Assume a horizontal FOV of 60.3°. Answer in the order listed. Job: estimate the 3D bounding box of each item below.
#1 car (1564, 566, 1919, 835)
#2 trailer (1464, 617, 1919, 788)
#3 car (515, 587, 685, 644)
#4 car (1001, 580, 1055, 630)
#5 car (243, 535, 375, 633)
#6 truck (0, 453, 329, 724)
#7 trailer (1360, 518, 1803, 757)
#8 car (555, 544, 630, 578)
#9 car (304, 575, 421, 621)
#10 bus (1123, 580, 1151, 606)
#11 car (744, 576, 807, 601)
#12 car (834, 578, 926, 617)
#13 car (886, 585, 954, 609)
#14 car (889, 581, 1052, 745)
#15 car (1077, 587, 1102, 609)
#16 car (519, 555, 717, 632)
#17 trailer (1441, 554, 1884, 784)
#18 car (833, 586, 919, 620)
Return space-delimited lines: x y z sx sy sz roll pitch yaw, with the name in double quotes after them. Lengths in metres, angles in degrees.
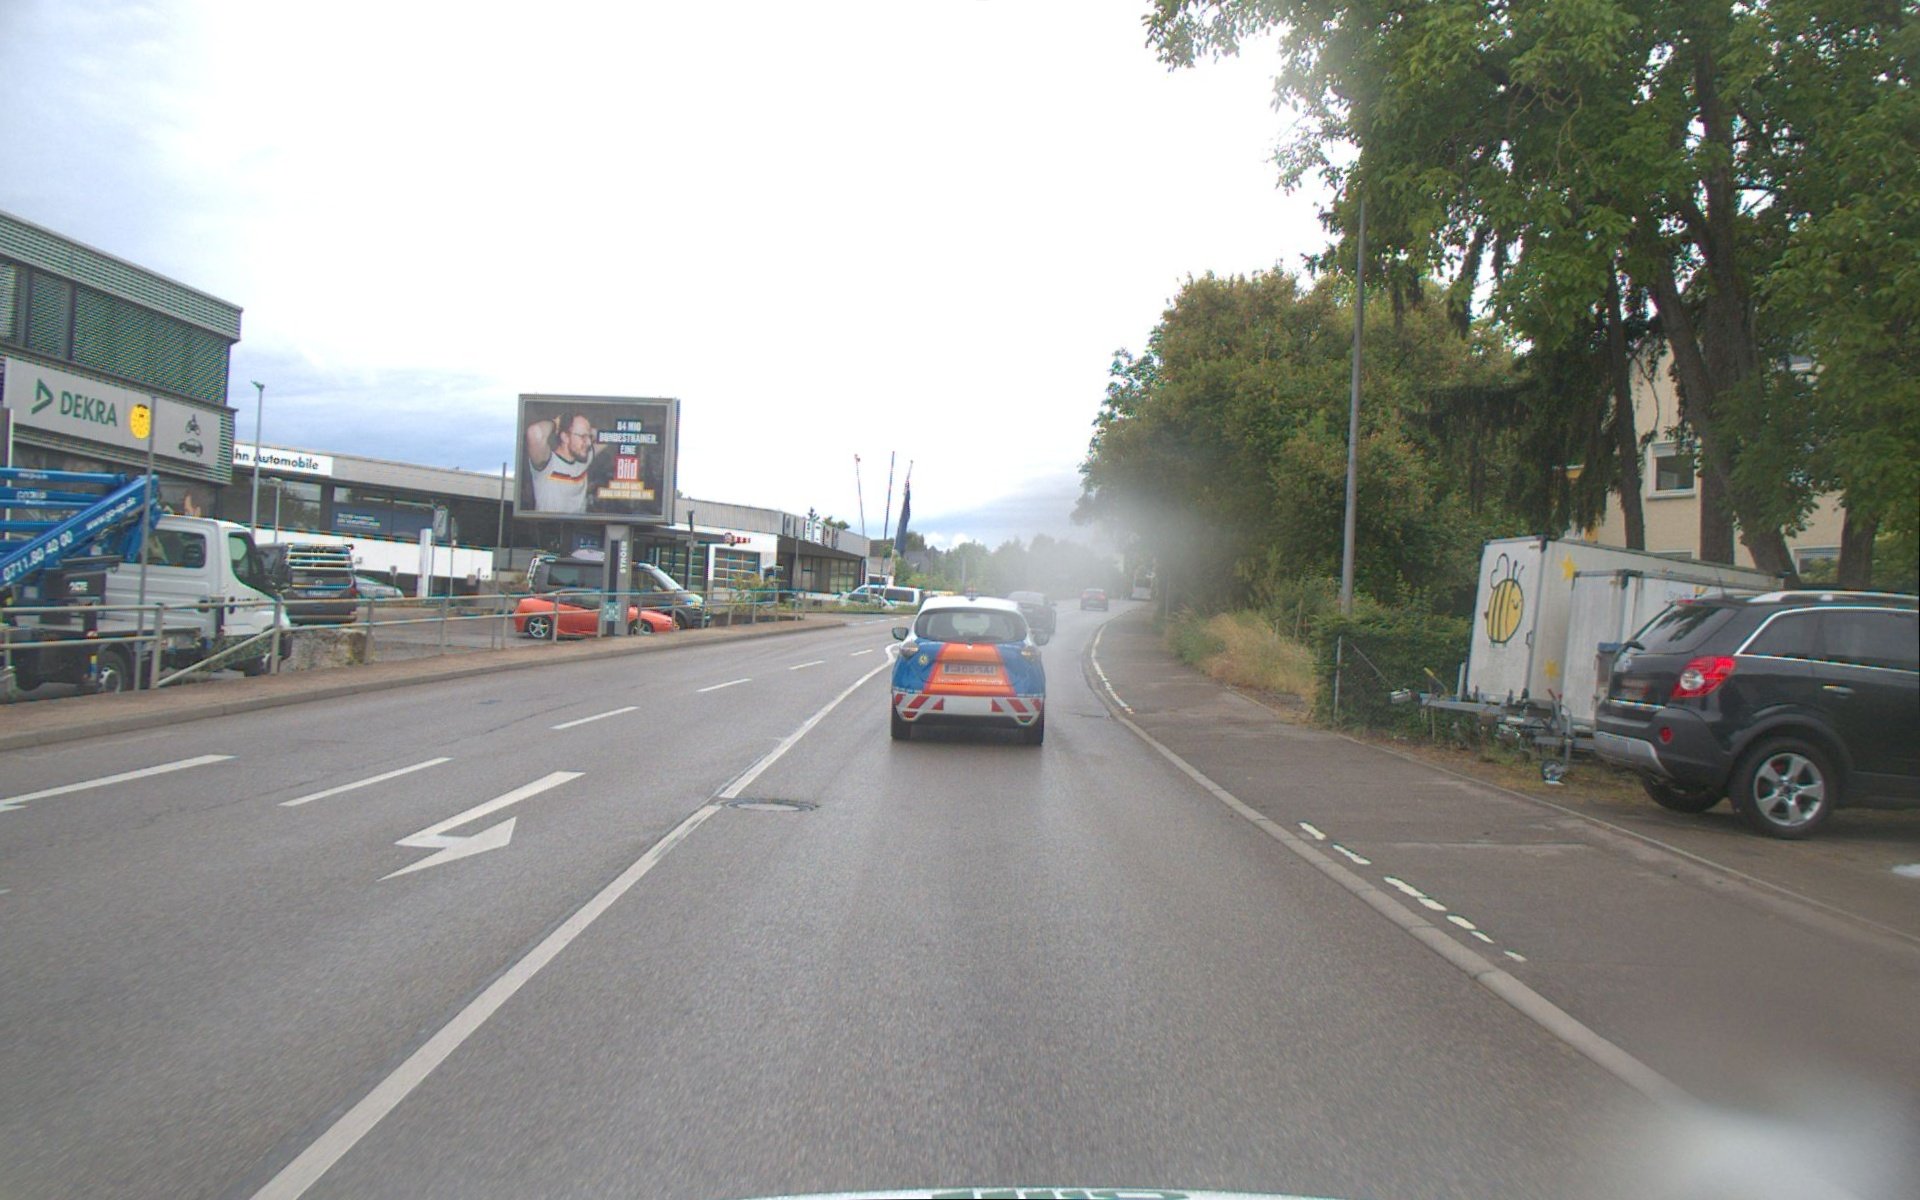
6.989 0.736 12.410 4.126 1.780 1.984 3 1 1 "car"
7.141 0.941 15.498 4.308 1.310 1.571 3 1 -1 "trailer"
-9.145 0.384 42.287 4.013 1.289 1.768 2 0 -6 "car"
2.361 0.164 57.174 1.764 1.618 3.564 2 0 3 "car"
-15.057 -0.403 38.107 1.974 2.022 4.826 3 0 -31 "car"
-10.222 -0.211 19.574 1.952 2.678 7.897 2 1 4 "truck"
7.289 0.439 19.626 4.450 2.442 1.946 3 0 -8 "trailer"
-17.626 -1.843 79.507 1.779 1.504 4.025 2 1 16 "car"
-21.565 -0.074 59.678 4.019 1.452 1.884 3 1 33 "car"
23.487 -0.885 220.190 2.850 3.225 11.470 2 0 2 "bus"
-12.071 -0.754 107.975 3.950 1.440 1.942 3 1 41 "car"
-4.043 -0.139 83.936 4.319 1.829 1.936 2 1 6 "car"
-2.451 -0.218 102.324 3.977 1.313 1.805 2 1 4 "car"
0.206 0.677 19.069 1.623 1.620 3.569 3 -1 3 "car"
8.680 -0.124 110.878 1.580 1.432 3.499 2 0 5 "car"
-9.295 -0.171 45.231 4.965 1.903 1.822 2 0 -2 "car"
7.317 0.696 17.476 3.873 2.057 1.686 4 0 -1 "trailer"
-4.112 0.124 81.308 3.924 1.504 1.825 2 1 6 "car"
